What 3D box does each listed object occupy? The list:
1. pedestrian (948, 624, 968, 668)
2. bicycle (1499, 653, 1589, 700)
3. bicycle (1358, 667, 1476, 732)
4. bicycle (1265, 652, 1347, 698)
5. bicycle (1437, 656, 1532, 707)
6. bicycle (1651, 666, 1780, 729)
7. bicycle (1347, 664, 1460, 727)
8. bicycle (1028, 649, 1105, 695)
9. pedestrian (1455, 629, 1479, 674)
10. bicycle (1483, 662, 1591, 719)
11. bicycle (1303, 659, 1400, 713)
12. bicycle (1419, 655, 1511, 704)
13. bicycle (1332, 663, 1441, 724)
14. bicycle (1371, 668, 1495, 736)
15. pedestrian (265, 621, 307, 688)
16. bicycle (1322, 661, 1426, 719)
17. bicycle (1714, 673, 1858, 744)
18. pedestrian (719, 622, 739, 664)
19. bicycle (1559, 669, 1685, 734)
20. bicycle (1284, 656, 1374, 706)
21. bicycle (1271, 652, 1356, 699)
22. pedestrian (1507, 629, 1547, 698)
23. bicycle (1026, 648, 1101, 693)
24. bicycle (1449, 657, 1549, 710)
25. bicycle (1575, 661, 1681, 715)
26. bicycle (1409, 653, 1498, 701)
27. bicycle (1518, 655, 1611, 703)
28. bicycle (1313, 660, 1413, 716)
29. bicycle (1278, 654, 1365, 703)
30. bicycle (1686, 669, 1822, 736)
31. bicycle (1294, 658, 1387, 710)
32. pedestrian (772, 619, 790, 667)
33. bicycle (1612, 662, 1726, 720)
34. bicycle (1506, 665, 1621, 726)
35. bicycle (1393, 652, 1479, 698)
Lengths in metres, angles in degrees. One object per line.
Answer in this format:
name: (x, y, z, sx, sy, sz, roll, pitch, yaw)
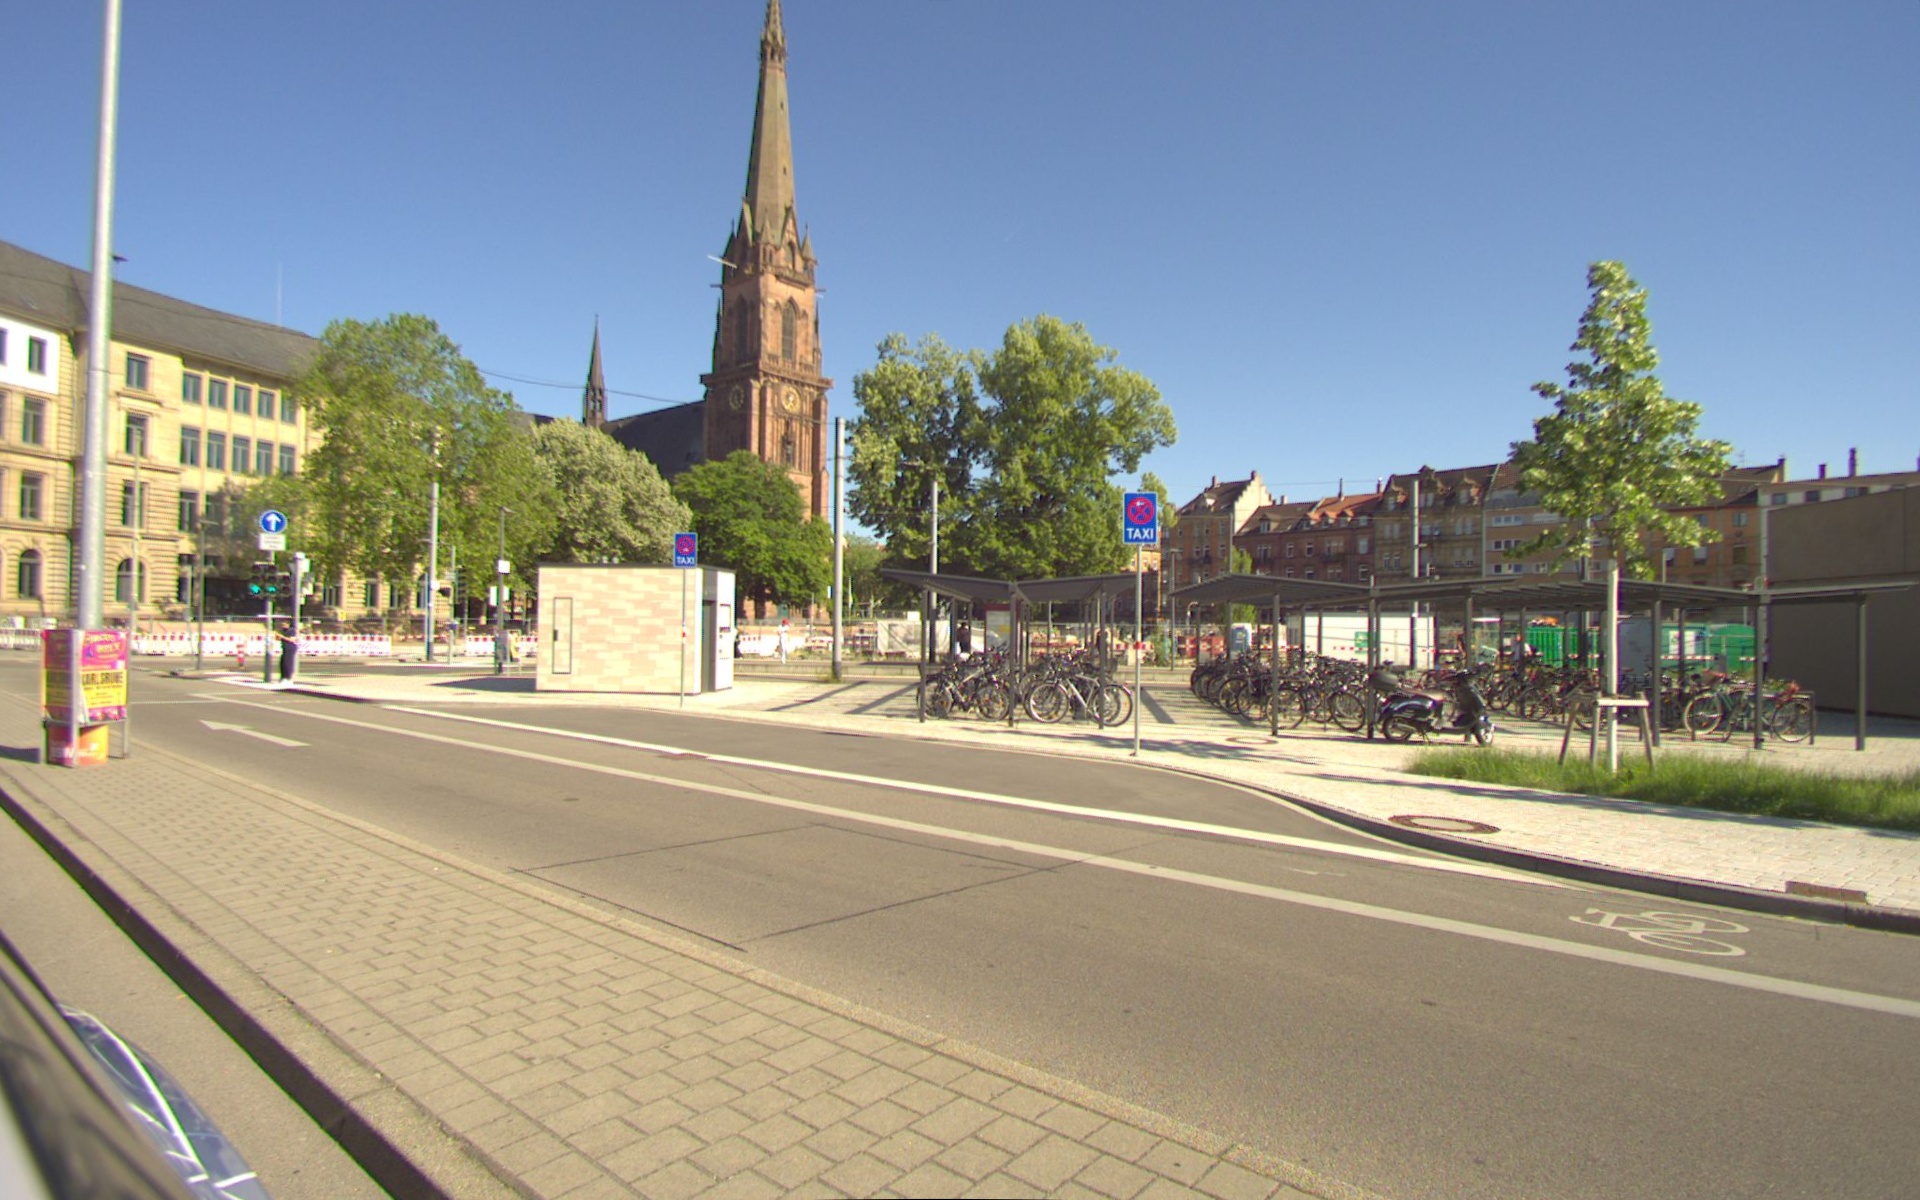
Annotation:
pedestrian: (-0.060, 1.761, 39.098, 0.518, 1.667, 0.559, -1, 0, 41)
bicycle: (13.829, 1.814, 23.995, 1.765, 1.046, 0.567, 1, -3, 4)
bicycle: (7.891, 1.711, 17.504, 1.765, 1.046, 0.567, 1, -3, 4)
bicycle: (8.269, 1.794, 24.240, 1.765, 1.046, 0.567, 1, -3, 4)
bicycle: (11.431, 1.776, 22.095, 1.765, 1.046, 0.567, 1, -3, 4)
bicycle: (13.590, 1.749, 18.255, 1.769, 1.046, 0.566, 1, -3, 12)
bicycle: (7.916, 1.704, 18.108, 1.765, 1.046, 0.567, 1, -3, 4)
bicycle: (2.534, 1.717, 24.186, 1.765, 1.046, 0.567, 1, -3, 4)
pedestrian: (17.724, 1.799, 35.364, 0.581, 1.530, 0.559, 1, -2, 6)
bicycle: (11.284, 1.762, 19.829, 1.765, 1.046, 0.567, 1, -3, 4)
bicycle: (8.060, 1.766, 20.885, 1.765, 1.046, 0.567, 1, -3, 4)
bicycle: (11.410, 1.789, 22.889, 1.765, 1.046, 0.567, 1, -3, 4)
bicycle: (7.926, 1.728, 18.851, 1.765, 1.046, 0.567, 1, -3, 4)
bicycle: (7.848, 1.690, 16.841, 1.765, 1.046, 0.567, 1, -3, 4)
pedestrian: (-17.584, 1.398, 26.416, 0.648, 1.693, 0.779, -1, 0, 42)
bicycle: (7.958, 1.727, 19.488, 1.765, 1.046, 0.567, 1, -3, 4)
bicycle: (13.157, 1.716, 16.155, 1.765, 1.046, 0.567, 1, -3, 4)
pedestrian: (-9.855, 1.851, 43.237, 0.673, 1.736, 0.537, -3, -6, 6)
bicycle: (11.450, 1.750, 17.541, 1.765, 1.046, 0.567, 1, -3, 4)
bicycle: (8.146, 1.782, 22.367, 1.765, 1.046, 0.567, 1, -3, 4)
bicycle: (8.239, 1.754, 23.604, 1.765, 1.046, 0.567, 1, -3, 4)
pedestrian: (14.604, 1.619, 26.079, 0.673, 1.736, 0.617, 0, -2, 2)
bicycle: (2.527, 1.714, 24.818, 1.765, 1.046, 0.567, 1, -3, 4)
bicycle: (11.370, 1.761, 21.378, 1.765, 1.046, 0.567, 1, -3, 4)
bicycle: (13.842, 1.815, 20.994, 1.765, 1.046, 0.567, 1, -3, 4)
bicycle: (11.443, 1.783, 23.510, 1.765, 1.046, 0.567, 1, -3, 4)
bicycle: (13.884, 1.814, 23.280, 1.765, 1.046, 0.567, 1, -3, 4)
bicycle: (8.018, 1.745, 20.175, 1.765, 1.046, 0.567, 1, -3, 4)
bicycle: (8.196, 1.774, 22.970, 1.765, 1.046, 0.567, 1, -3, 4)
bicycle: (13.384, 1.721, 17.089, 1.765, 1.046, 0.567, 1, -3, 4)
bicycle: (8.111, 1.778, 21.603, 1.765, 1.046, 0.567, 1, -3, 4)
pedestrian: (-6.684, 1.608, 37.860, 0.529, 1.736, 0.684, 0, -6, -19)
bicycle: (13.794, 1.768, 19.710, 1.765, 1.046, 0.567, 1, -3, 4)
bicycle: (11.210, 1.763, 18.833, 1.765, 1.046, 0.567, 1, -3, 4)
bicycle: (11.374, 1.780, 24.223, 1.765, 1.046, 0.567, 1, -3, 4)
